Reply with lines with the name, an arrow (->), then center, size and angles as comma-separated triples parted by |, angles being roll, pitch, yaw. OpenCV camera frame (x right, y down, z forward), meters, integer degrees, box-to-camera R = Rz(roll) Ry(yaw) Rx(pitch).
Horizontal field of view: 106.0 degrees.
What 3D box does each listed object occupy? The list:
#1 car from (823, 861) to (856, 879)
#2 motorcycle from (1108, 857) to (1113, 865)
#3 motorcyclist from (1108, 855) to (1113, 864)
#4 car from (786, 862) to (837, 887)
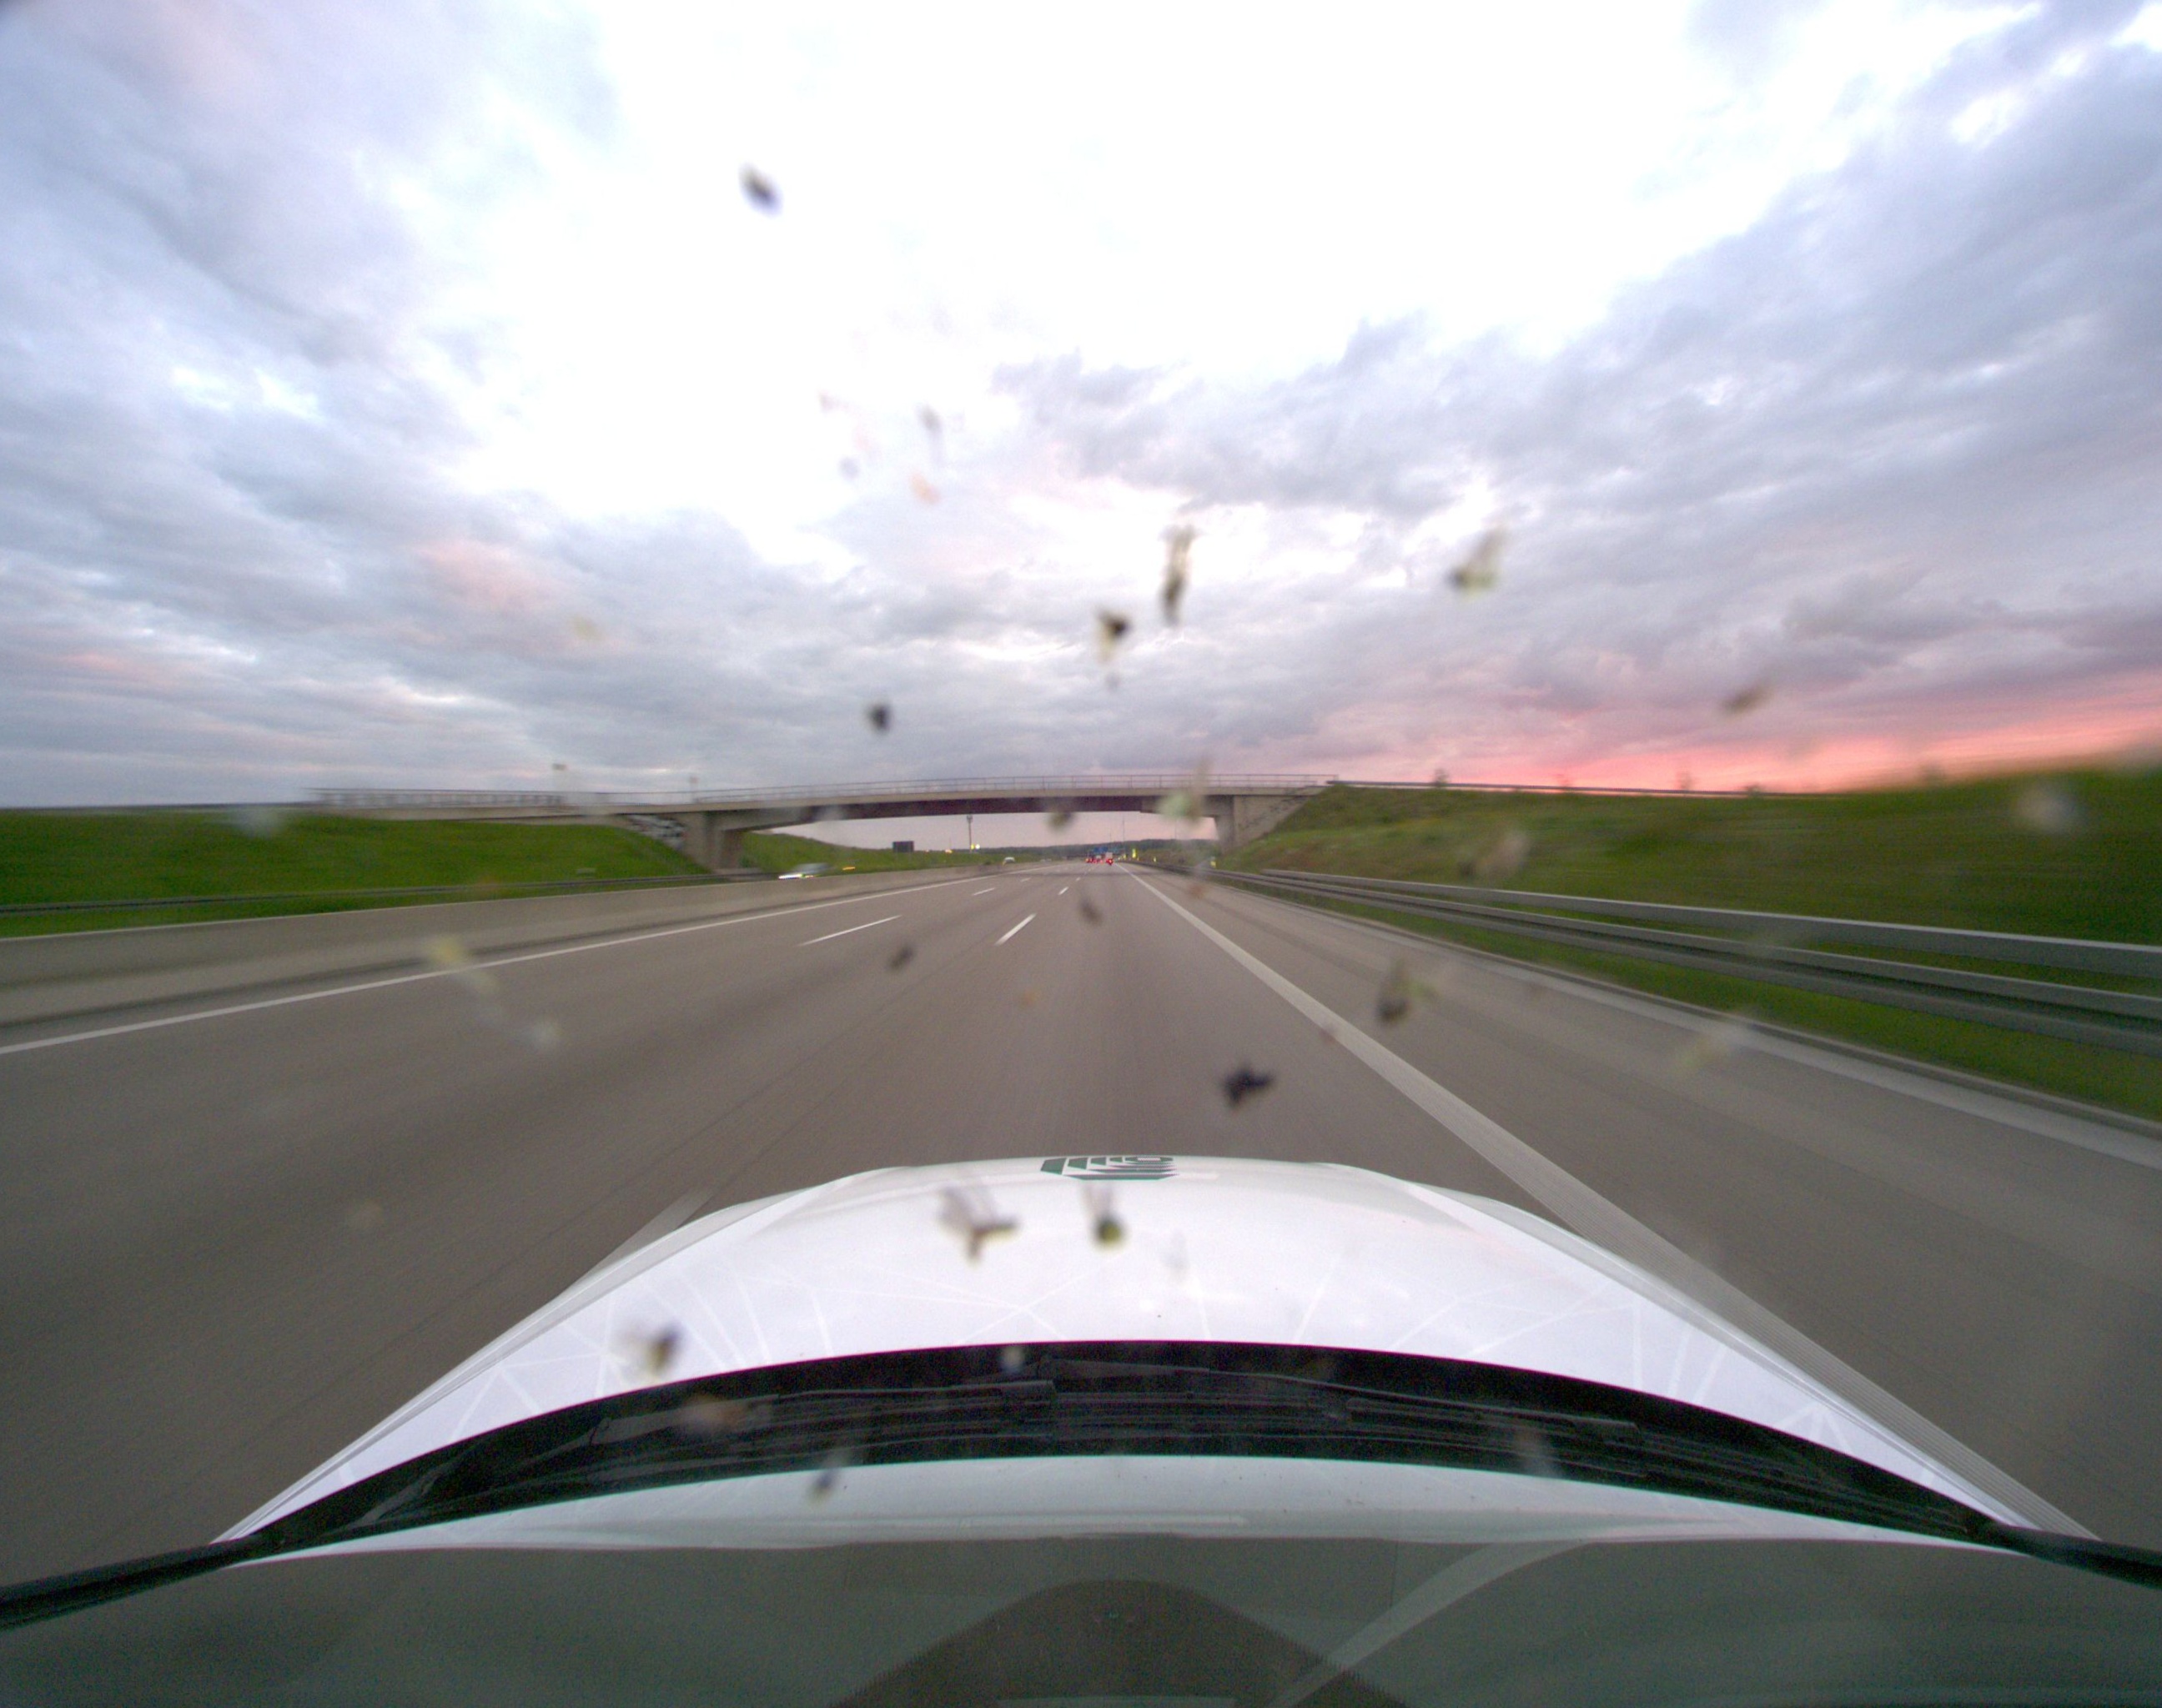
car -> -21.027, 1.365, 71.082 | 1.596, 1.557, 4.001 | 0, 0, 1
motorcycle -> 5.001, 1.198, 137.847 | 0.898, 1.346, 2.350 | -1, 0, 2
motorcyclist -> 4.961, 0.949, 137.601 | 0.862, 1.488, 1.169 | 0, 0, 3
car -> -17.377, 1.296, 52.658 | 1.748, 1.552, 4.362 | 0, 0, 1
